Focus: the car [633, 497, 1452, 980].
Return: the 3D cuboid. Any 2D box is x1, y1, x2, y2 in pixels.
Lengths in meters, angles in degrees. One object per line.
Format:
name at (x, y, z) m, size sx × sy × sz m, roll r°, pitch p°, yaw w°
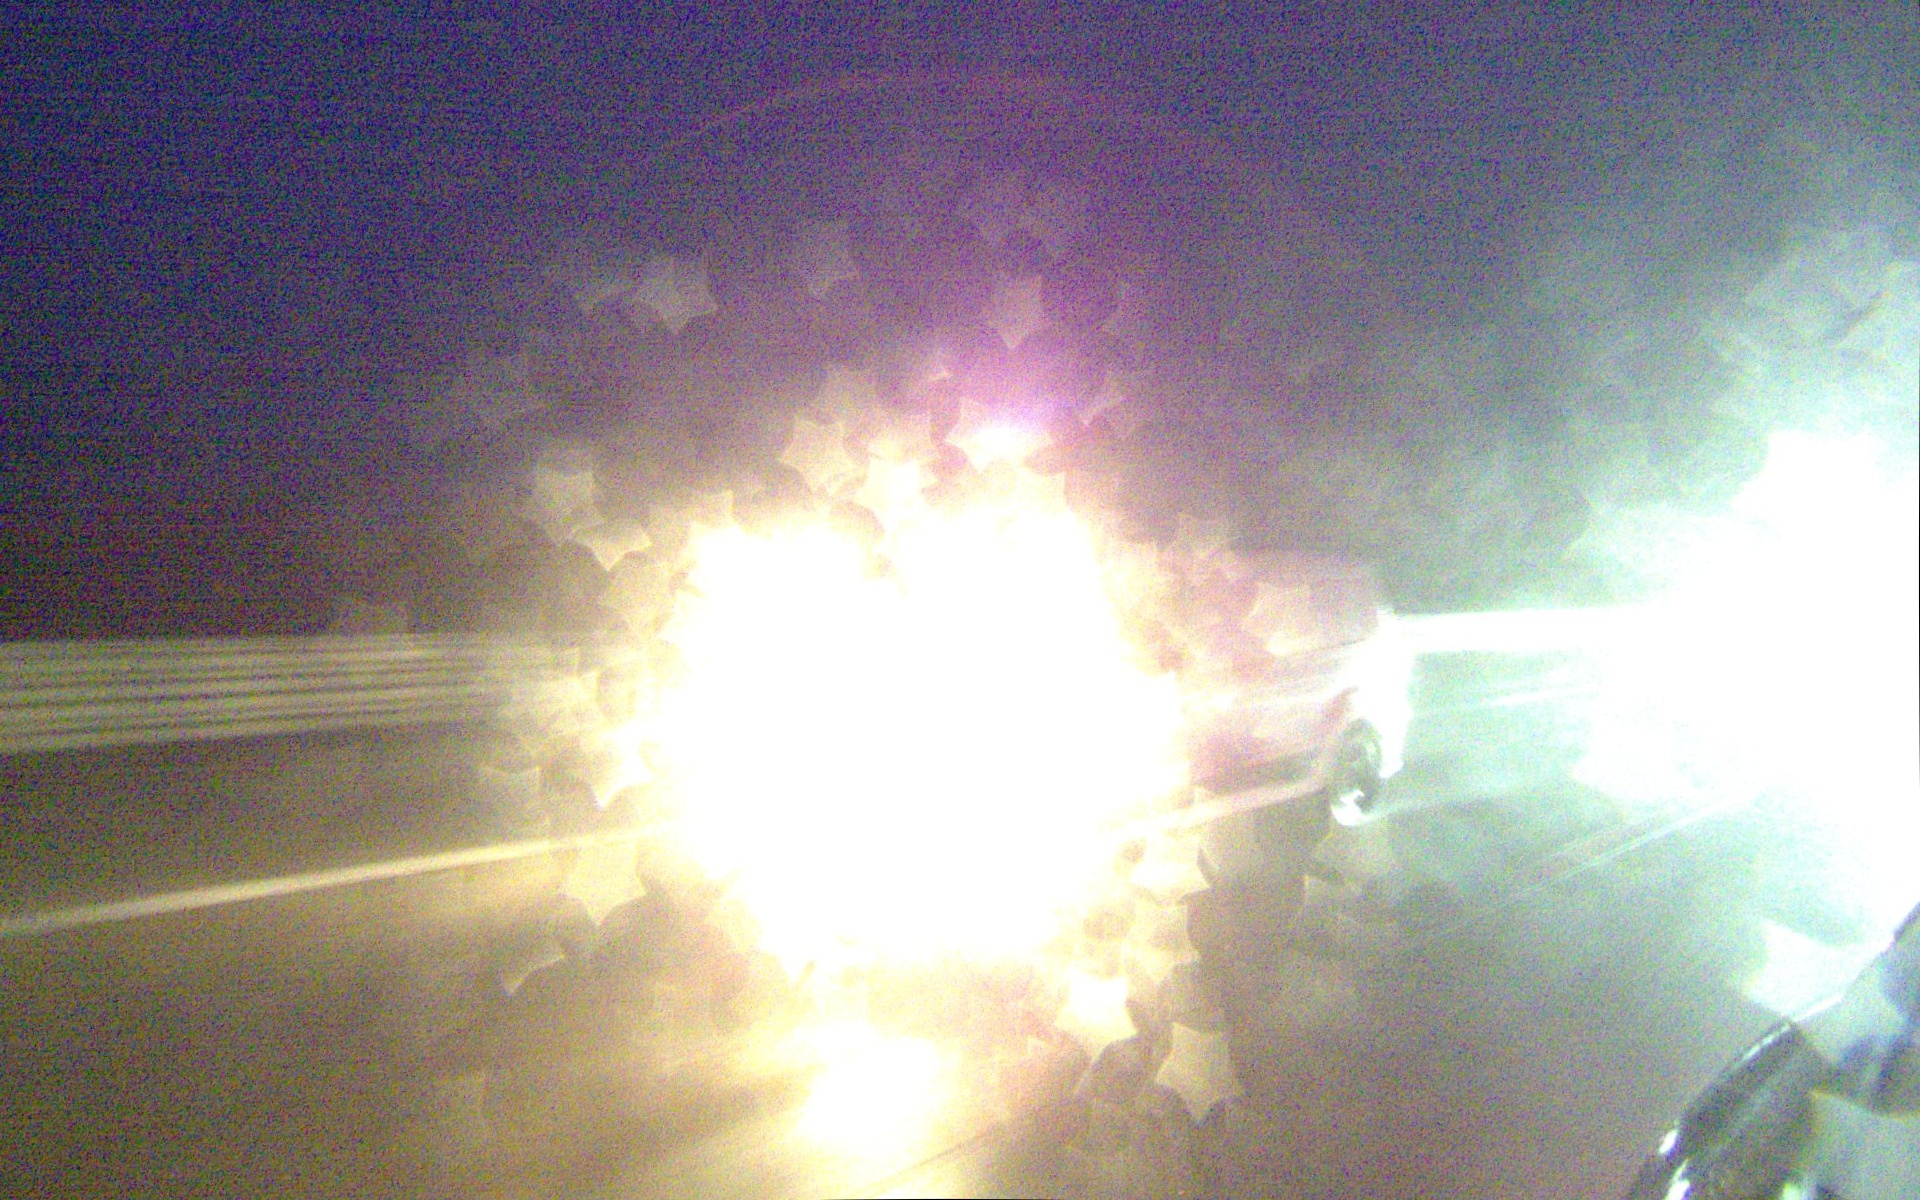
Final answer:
car at (0.838, 0.486, 6.154) m, size 5.032 × 1.814 × 1.957 m, roll -1°, pitch 1°, yaw -39°
